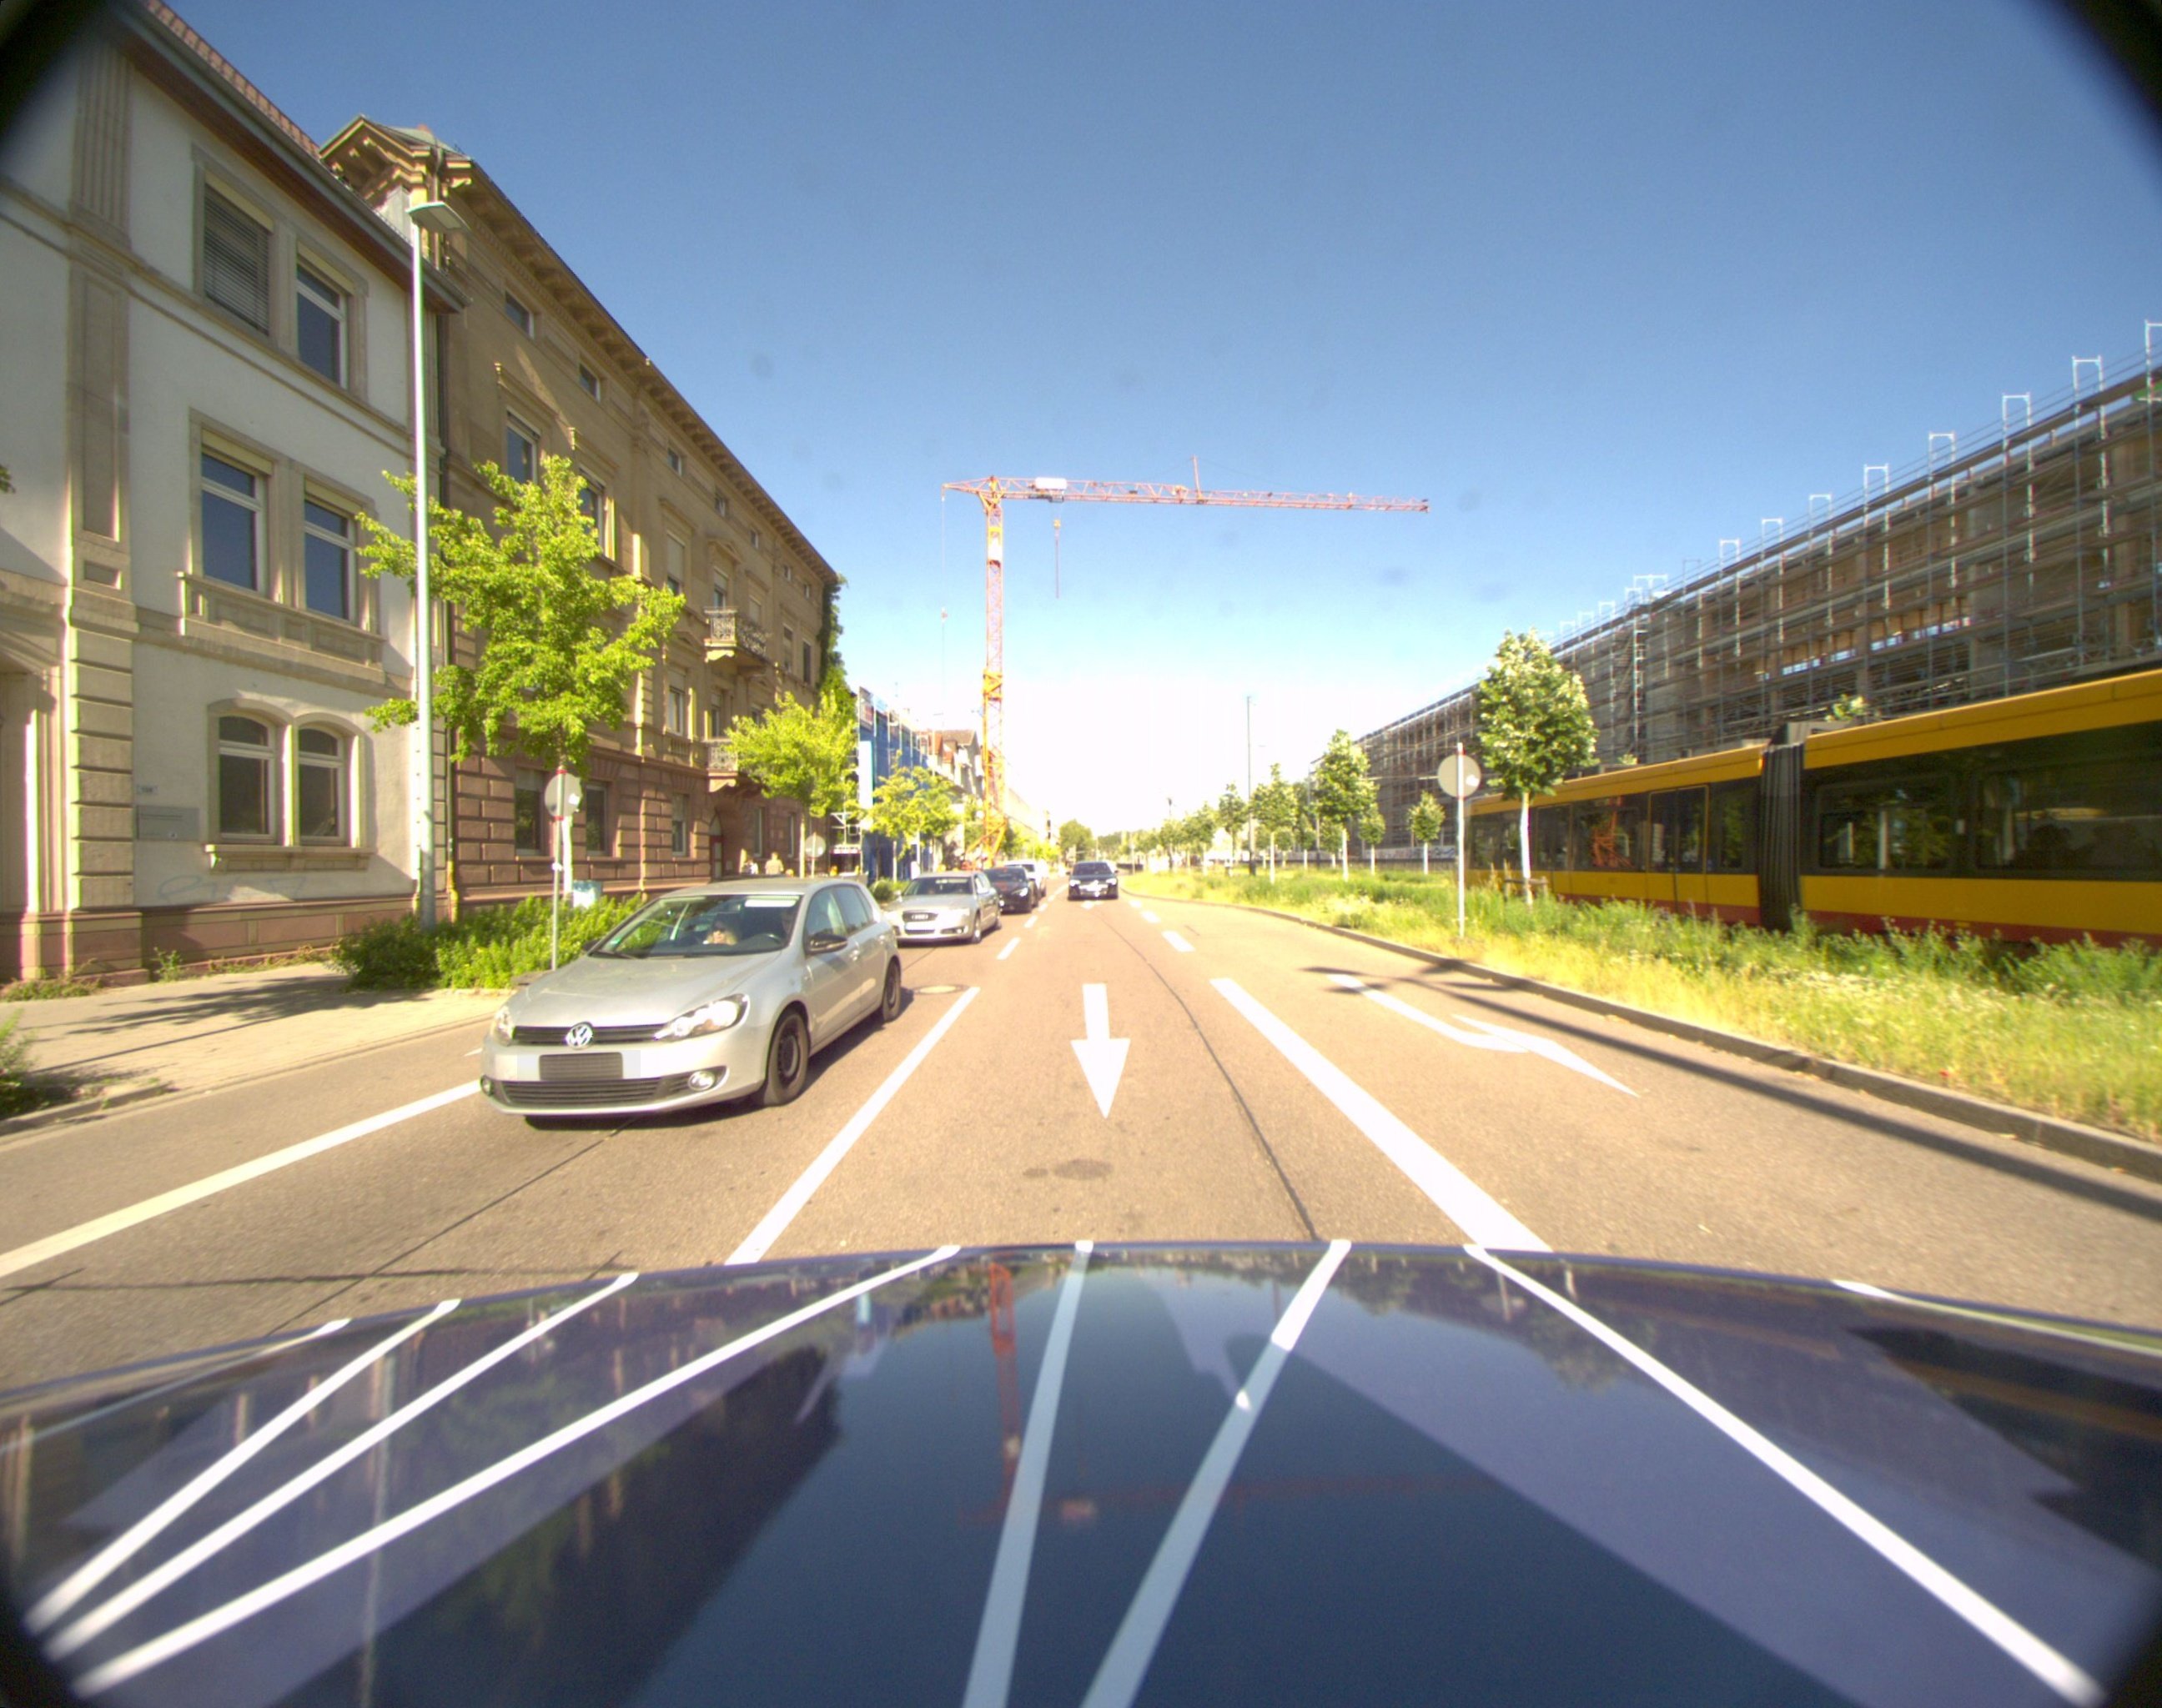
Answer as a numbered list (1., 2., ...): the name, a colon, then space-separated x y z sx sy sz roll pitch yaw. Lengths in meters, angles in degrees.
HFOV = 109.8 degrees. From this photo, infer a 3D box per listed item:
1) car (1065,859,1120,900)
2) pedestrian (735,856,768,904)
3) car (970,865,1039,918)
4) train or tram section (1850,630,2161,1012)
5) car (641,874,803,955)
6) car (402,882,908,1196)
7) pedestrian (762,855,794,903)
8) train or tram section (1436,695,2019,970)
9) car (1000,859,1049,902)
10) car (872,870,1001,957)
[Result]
1. car: 0.377 0.969 30.247 1.999 1.493 3.999 -1 0 -2
2. pedestrian: -10.927 0.861 25.245 0.669 1.552 0.906 -2 0 -1
3. car: -2.318 1.115 23.901 1.703 1.415 4.000 -2 0 0
4. train or tram section: 11.146 -0.328 4.690 1.998 3.648 11.319 -2 0 4
5. car: -7.581 1.208 16.516 1.610 1.435 4.000 0 0 0
6. car: -2.713 1.055 6.029 1.703 1.465 4.000 -2 0 0
7. pedestrian: -10.121 0.835 25.404 0.669 1.552 0.906 -2 0 -1
8. train or tram section: 12.025 -0.292 17.338 1.998 3.648 14.155 -2 0 4
9. car: -2.322 1.058 32.091 1.703 1.622 4.000 -2 0 0
10. car: -2.823 1.117 15.713 1.839 1.415 4.000 -2 0 0
